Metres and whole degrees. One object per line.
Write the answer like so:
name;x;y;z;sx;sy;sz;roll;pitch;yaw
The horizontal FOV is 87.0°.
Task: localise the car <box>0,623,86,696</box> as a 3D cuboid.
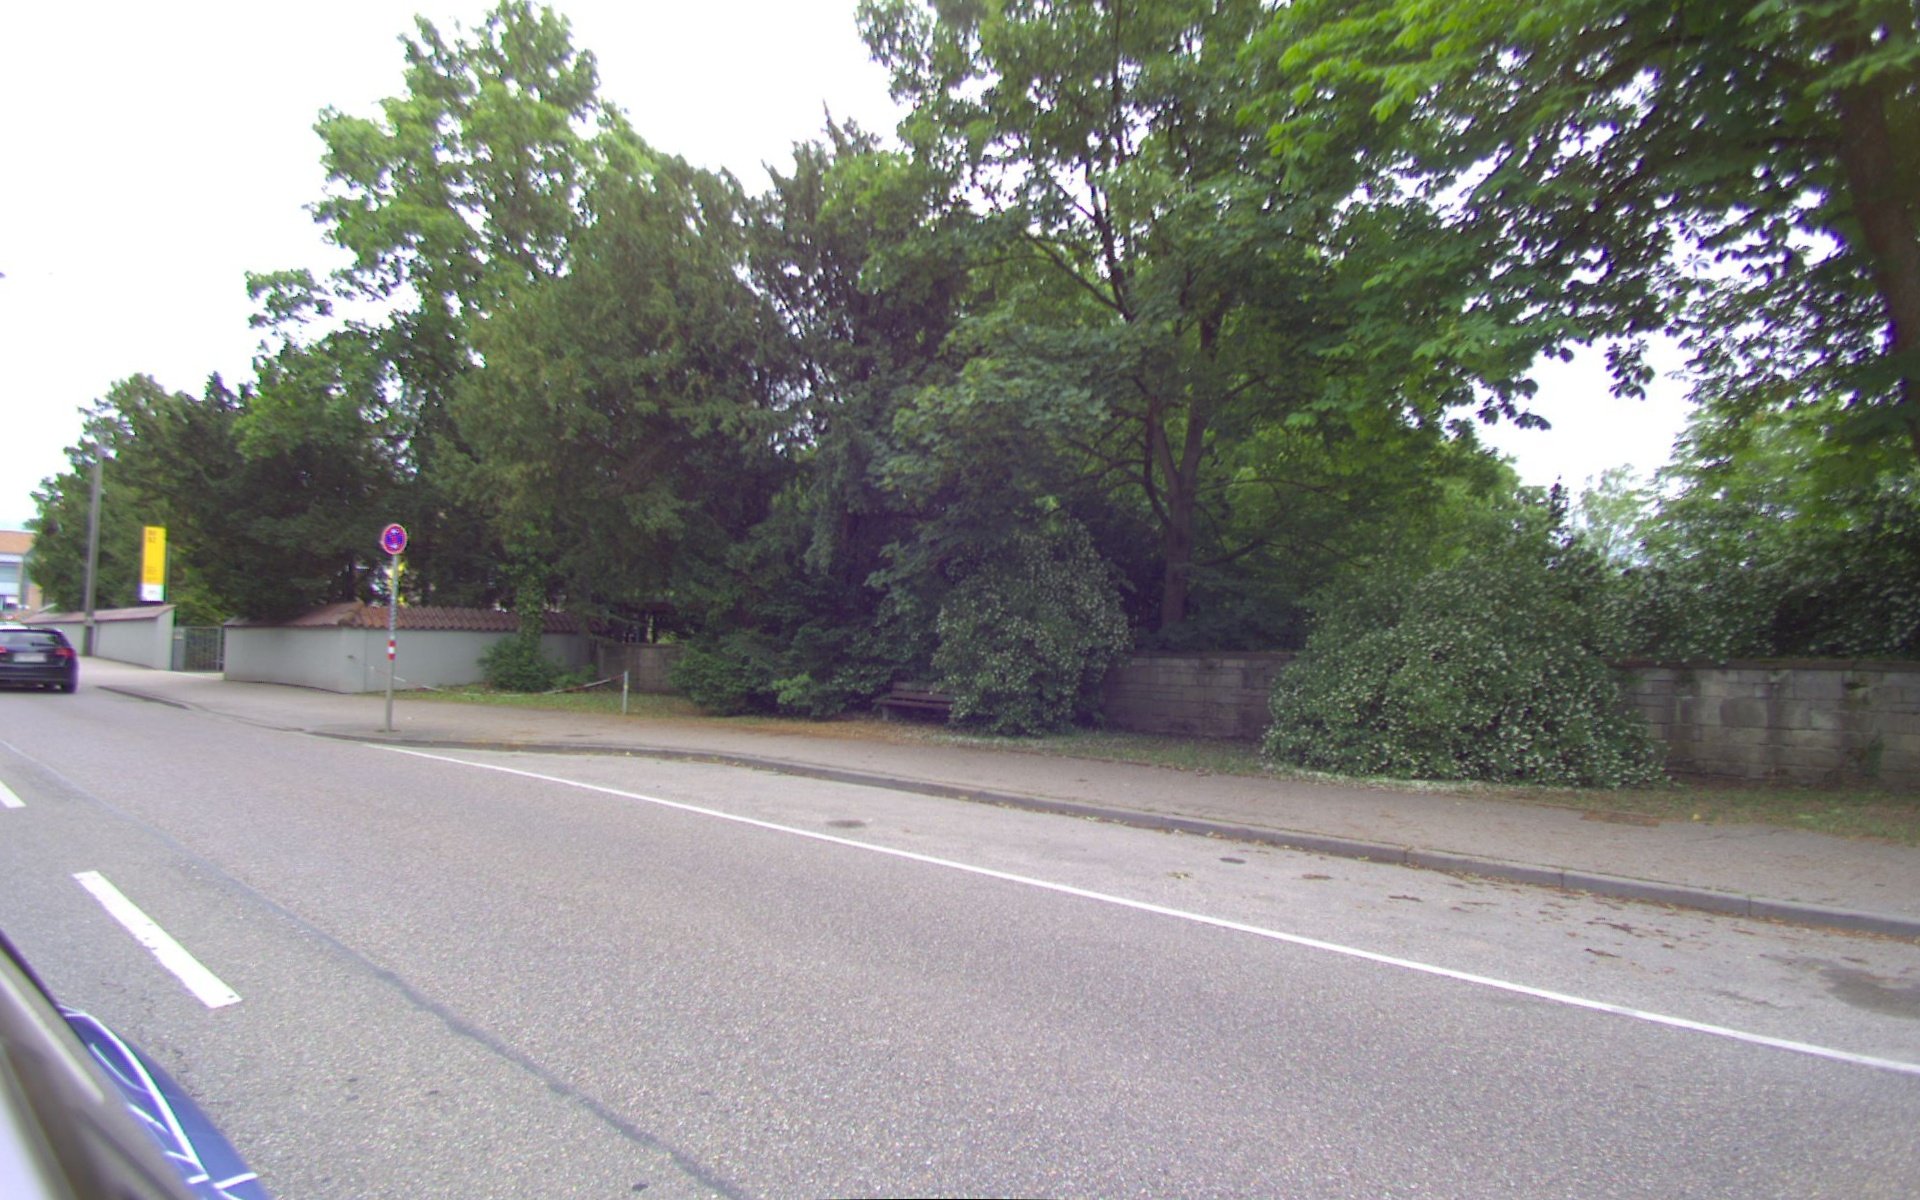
car;-20.851;1.272;22.246;4.109;1.464;1.840;-1;-5;41
